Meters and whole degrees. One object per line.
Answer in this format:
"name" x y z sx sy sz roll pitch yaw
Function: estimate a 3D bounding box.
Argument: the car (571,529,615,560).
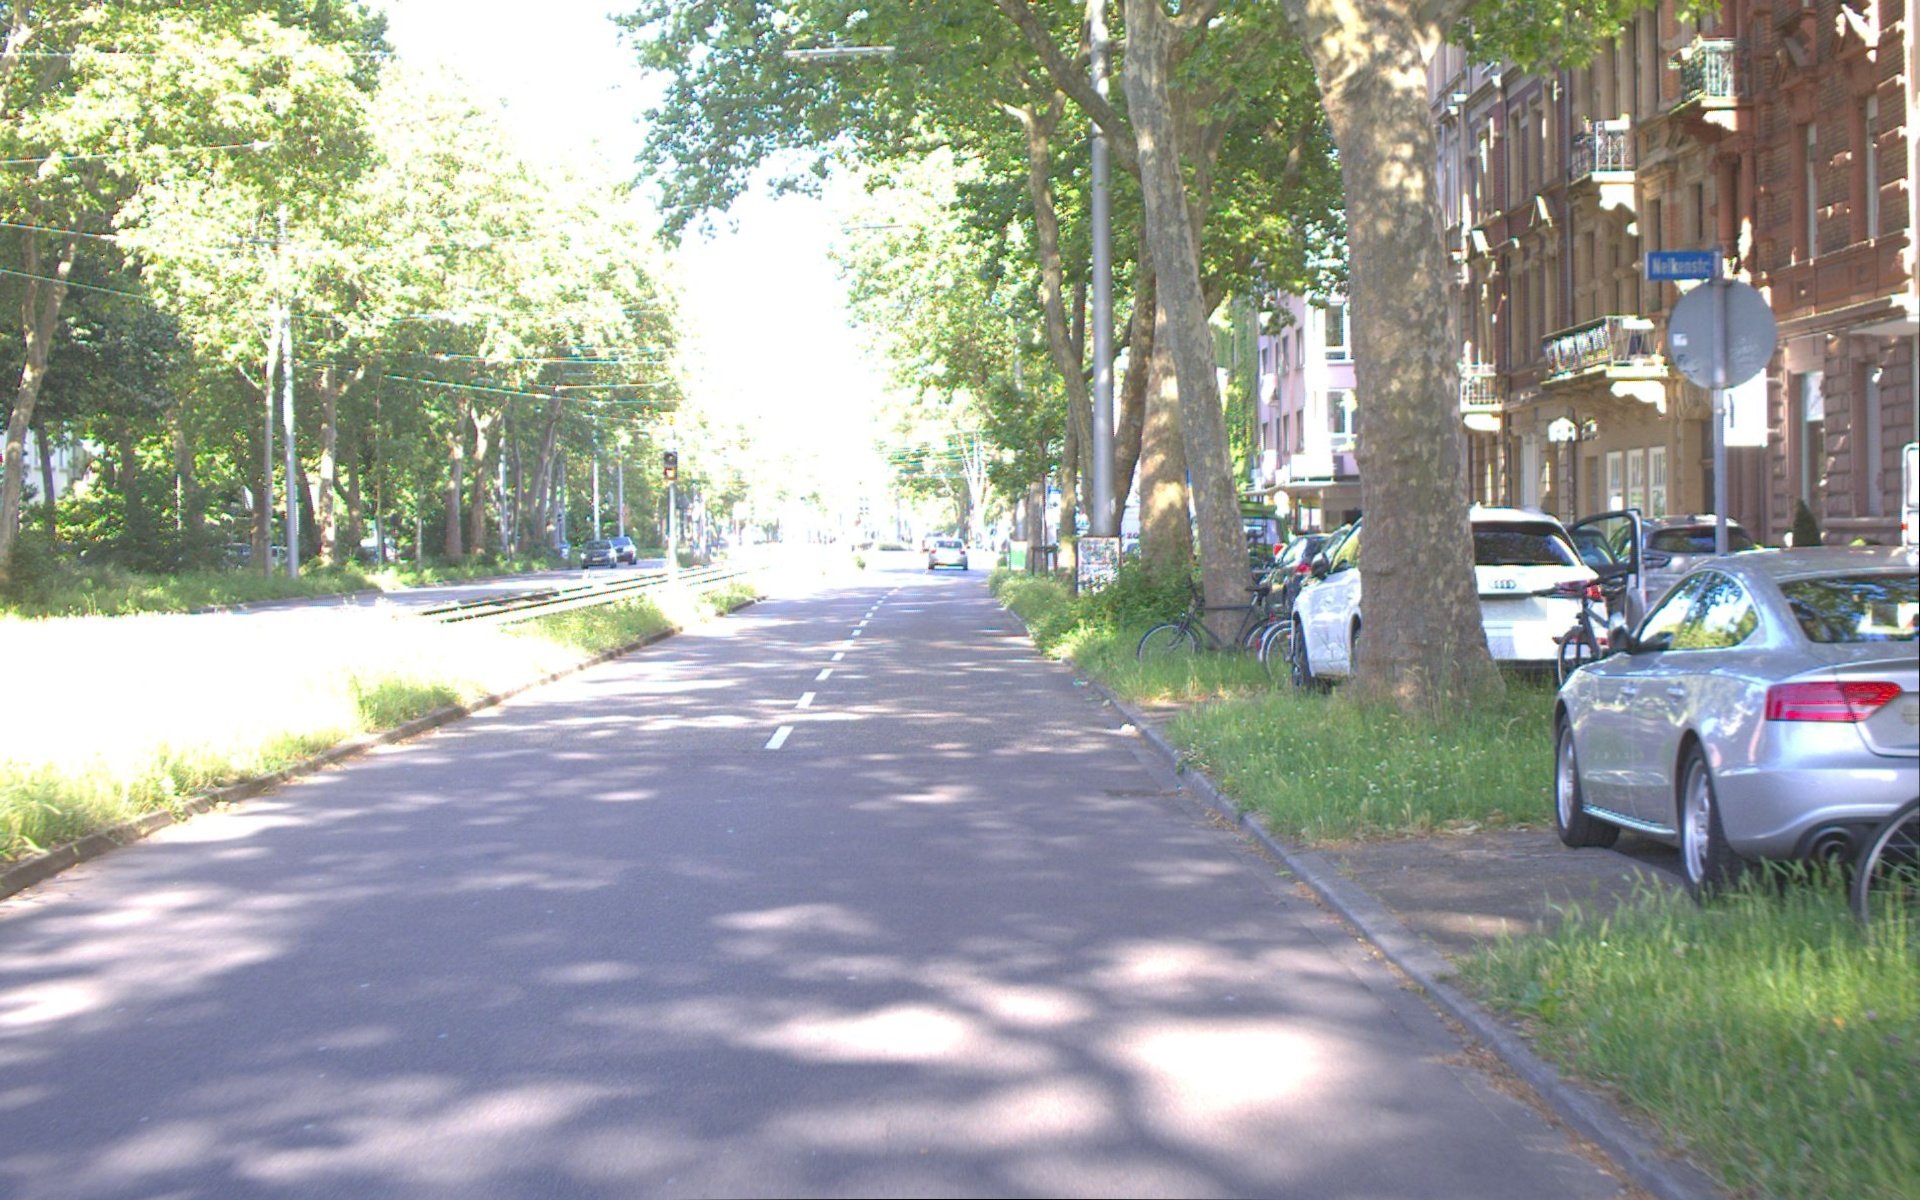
"car" -19.581 -2.963 183.578 1.795 1.503 4.339 -3 1 1

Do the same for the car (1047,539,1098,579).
"car" 4.343 -1.600 132.849 1.683 1.508 3.668 0 1 -3

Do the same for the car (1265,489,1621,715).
"car" 3.741 -0.051 27.468 1.902 1.630 4.825 -1 2 -3

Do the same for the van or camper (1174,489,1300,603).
"van or camper" 5.388 -1.069 67.428 1.833 2.090 4.775 2 1 -2

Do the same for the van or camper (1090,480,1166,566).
"van or camper" 5.089 -2.343 105.056 2.184 2.472 6.268 2 1 2

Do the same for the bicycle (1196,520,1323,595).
"bicycle" 5.243 -0.758 60.265 2.164 1.290 0.983 0 1 2

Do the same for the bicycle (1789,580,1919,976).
"bicycle" 3.576 0.500 10.190 2.070 1.120 0.677 0 1 -1

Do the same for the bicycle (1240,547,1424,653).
"bicycle" 3.416 -0.016 31.464 1.759 0.924 0.654 -2 2 -41

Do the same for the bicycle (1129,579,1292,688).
"bicycle" 2.489 0.333 34.120 1.594 1.055 0.404 0 1 7

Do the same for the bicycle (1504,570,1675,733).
"bicycle" 3.878 0.295 21.319 0.639 0.922 2.165 0 1 -1

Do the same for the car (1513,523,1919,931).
"car" 3.624 0.385 14.405 1.753 1.393 5.027 0 1 -1

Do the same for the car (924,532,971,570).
"car" -0.576 -2.218 153.655 2.021 1.656 4.000 0 1 -1
